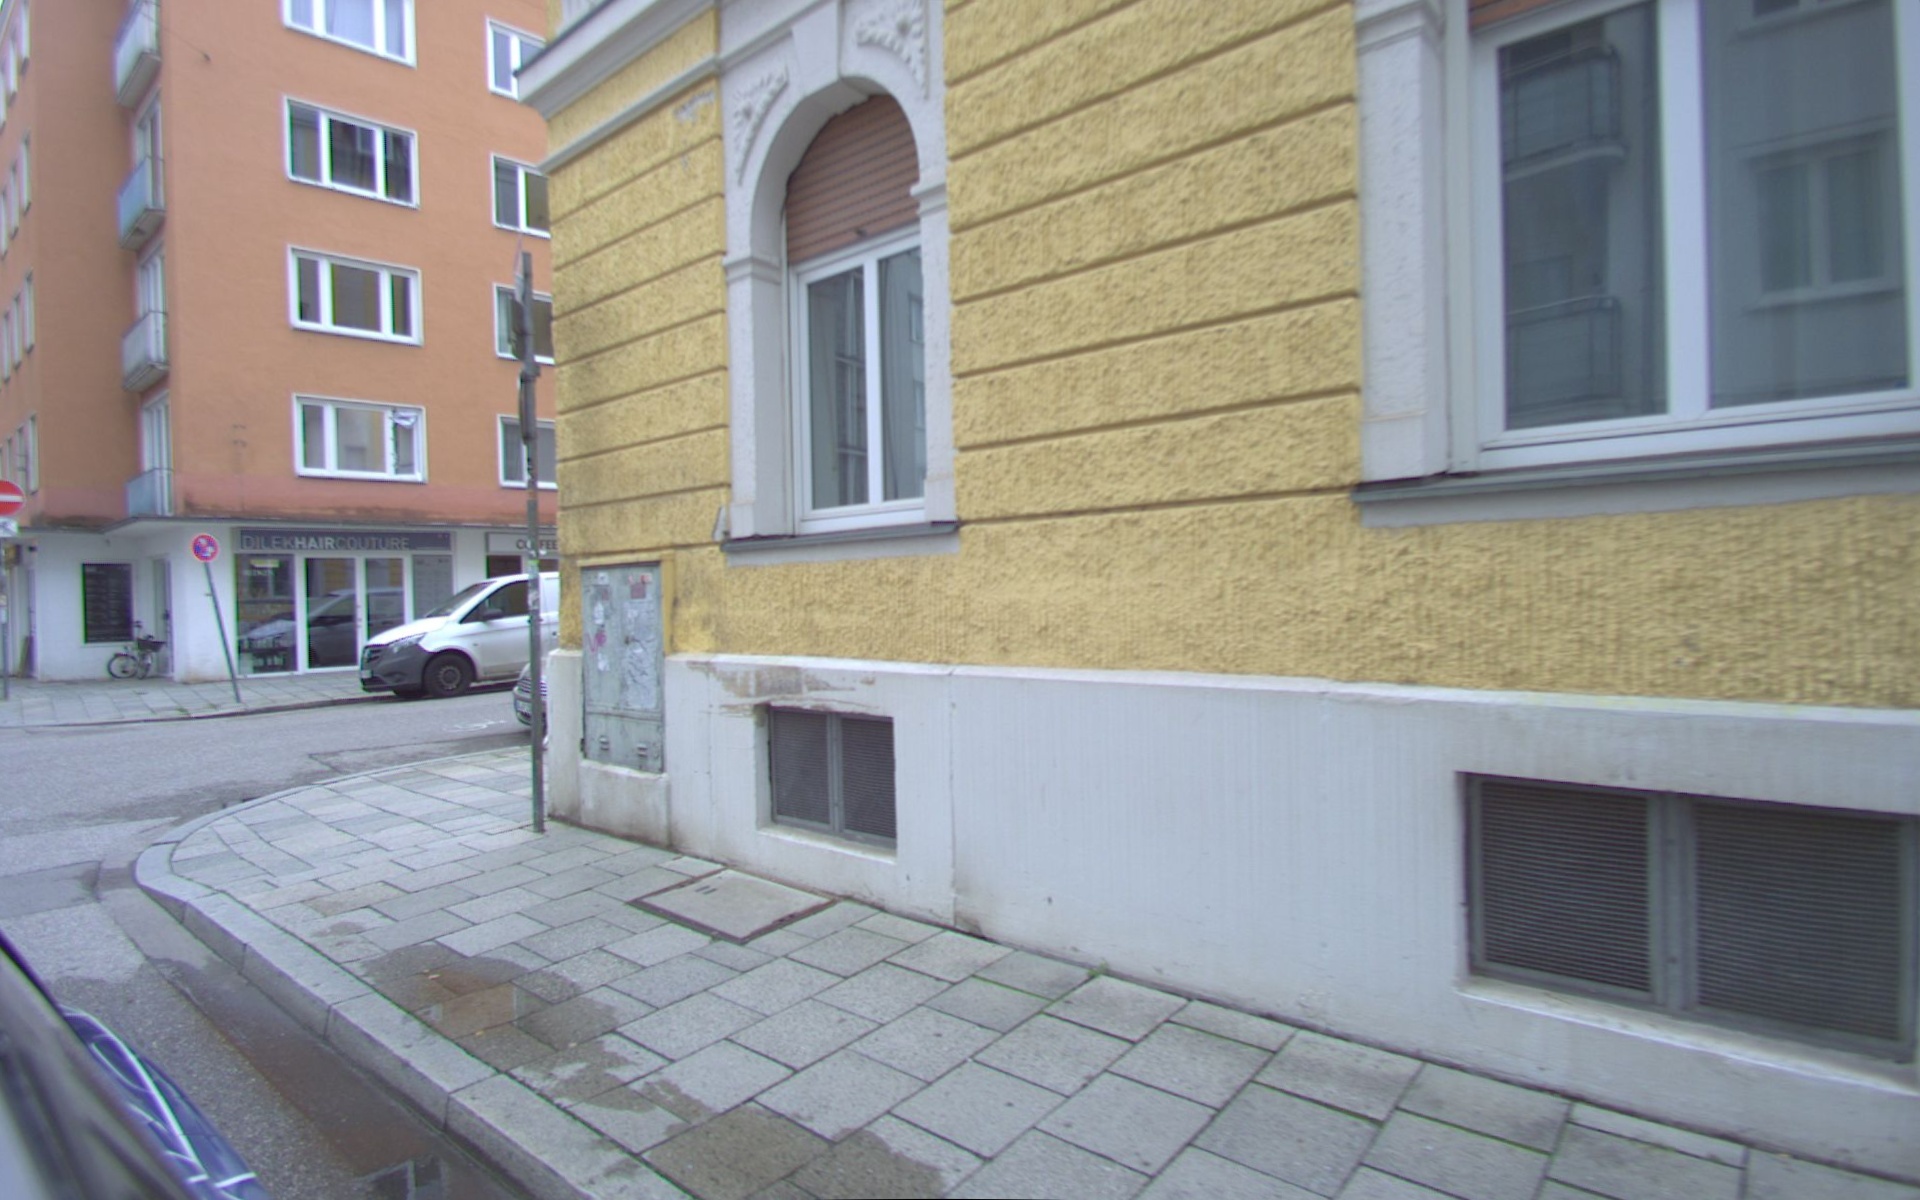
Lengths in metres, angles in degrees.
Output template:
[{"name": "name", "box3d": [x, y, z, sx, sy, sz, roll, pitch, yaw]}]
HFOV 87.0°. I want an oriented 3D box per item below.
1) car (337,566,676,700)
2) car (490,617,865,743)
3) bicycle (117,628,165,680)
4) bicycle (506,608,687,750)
[{"name": "car", "box3d": [-7.237, 0.501, 16.500, 1.934, 1.861, 4.615, -6, -4, 44]}, {"name": "car", "box3d": [-3.165, 0.816, 11.931, 1.573, 1.135, 4.026, -1, 0, 43]}, {"name": "bicycle", "box3d": [-15.553, 1.011, 19.210, 1.513, 0.936, 0.465, -1, 0, 42]}, {"name": "bicycle", "box3d": [-3.451, 0.703, 9.718, 0.528, 1.223, 1.589, -1, 0, 38]}]
